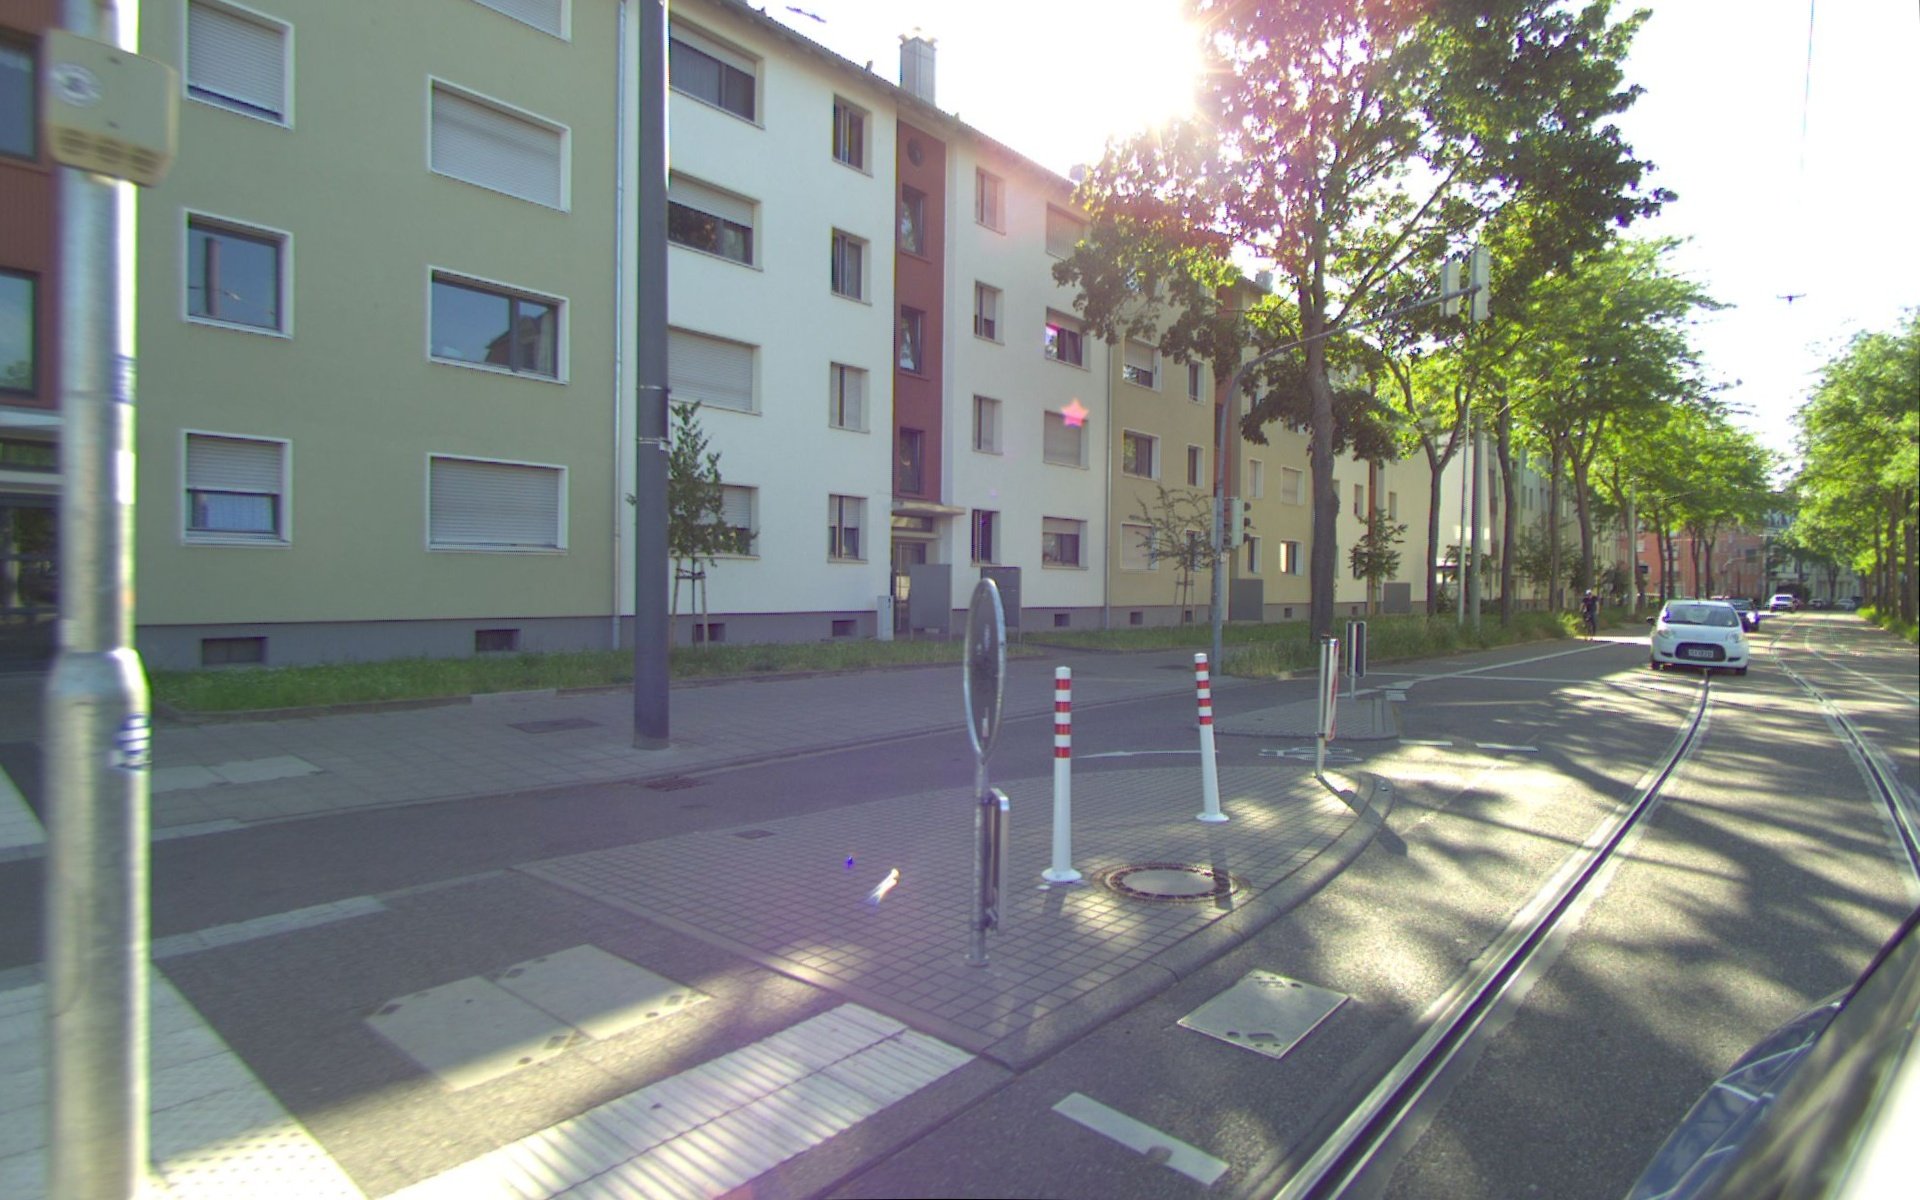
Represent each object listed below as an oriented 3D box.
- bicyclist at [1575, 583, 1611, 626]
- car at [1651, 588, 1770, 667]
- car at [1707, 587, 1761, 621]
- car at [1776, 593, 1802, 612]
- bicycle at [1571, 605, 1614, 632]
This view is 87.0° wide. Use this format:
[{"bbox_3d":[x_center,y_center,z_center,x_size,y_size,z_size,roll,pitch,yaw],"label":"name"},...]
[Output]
[{"bbox_3d":[22.804,0.148,36.449,1.238,1.518,0.817,0,1,-45],"label":"bicyclist"},{"bbox_3d":[15.747,0.505,21.400,1.730,1.477,3.650,1,1,33],"label":"car"},{"bbox_3d":[37.853,0.170,49.558,1.730,1.595,3.650,1,1,33],"label":"car"},{"bbox_3d":[81.796,0.272,99.861,1.816,1.783,3.644,-1,0,37],"label":"car"},{"bbox_3d":[22.809,0.667,36.479,0.825,0.896,2.162,2,1,45],"label":"bicycle"}]
